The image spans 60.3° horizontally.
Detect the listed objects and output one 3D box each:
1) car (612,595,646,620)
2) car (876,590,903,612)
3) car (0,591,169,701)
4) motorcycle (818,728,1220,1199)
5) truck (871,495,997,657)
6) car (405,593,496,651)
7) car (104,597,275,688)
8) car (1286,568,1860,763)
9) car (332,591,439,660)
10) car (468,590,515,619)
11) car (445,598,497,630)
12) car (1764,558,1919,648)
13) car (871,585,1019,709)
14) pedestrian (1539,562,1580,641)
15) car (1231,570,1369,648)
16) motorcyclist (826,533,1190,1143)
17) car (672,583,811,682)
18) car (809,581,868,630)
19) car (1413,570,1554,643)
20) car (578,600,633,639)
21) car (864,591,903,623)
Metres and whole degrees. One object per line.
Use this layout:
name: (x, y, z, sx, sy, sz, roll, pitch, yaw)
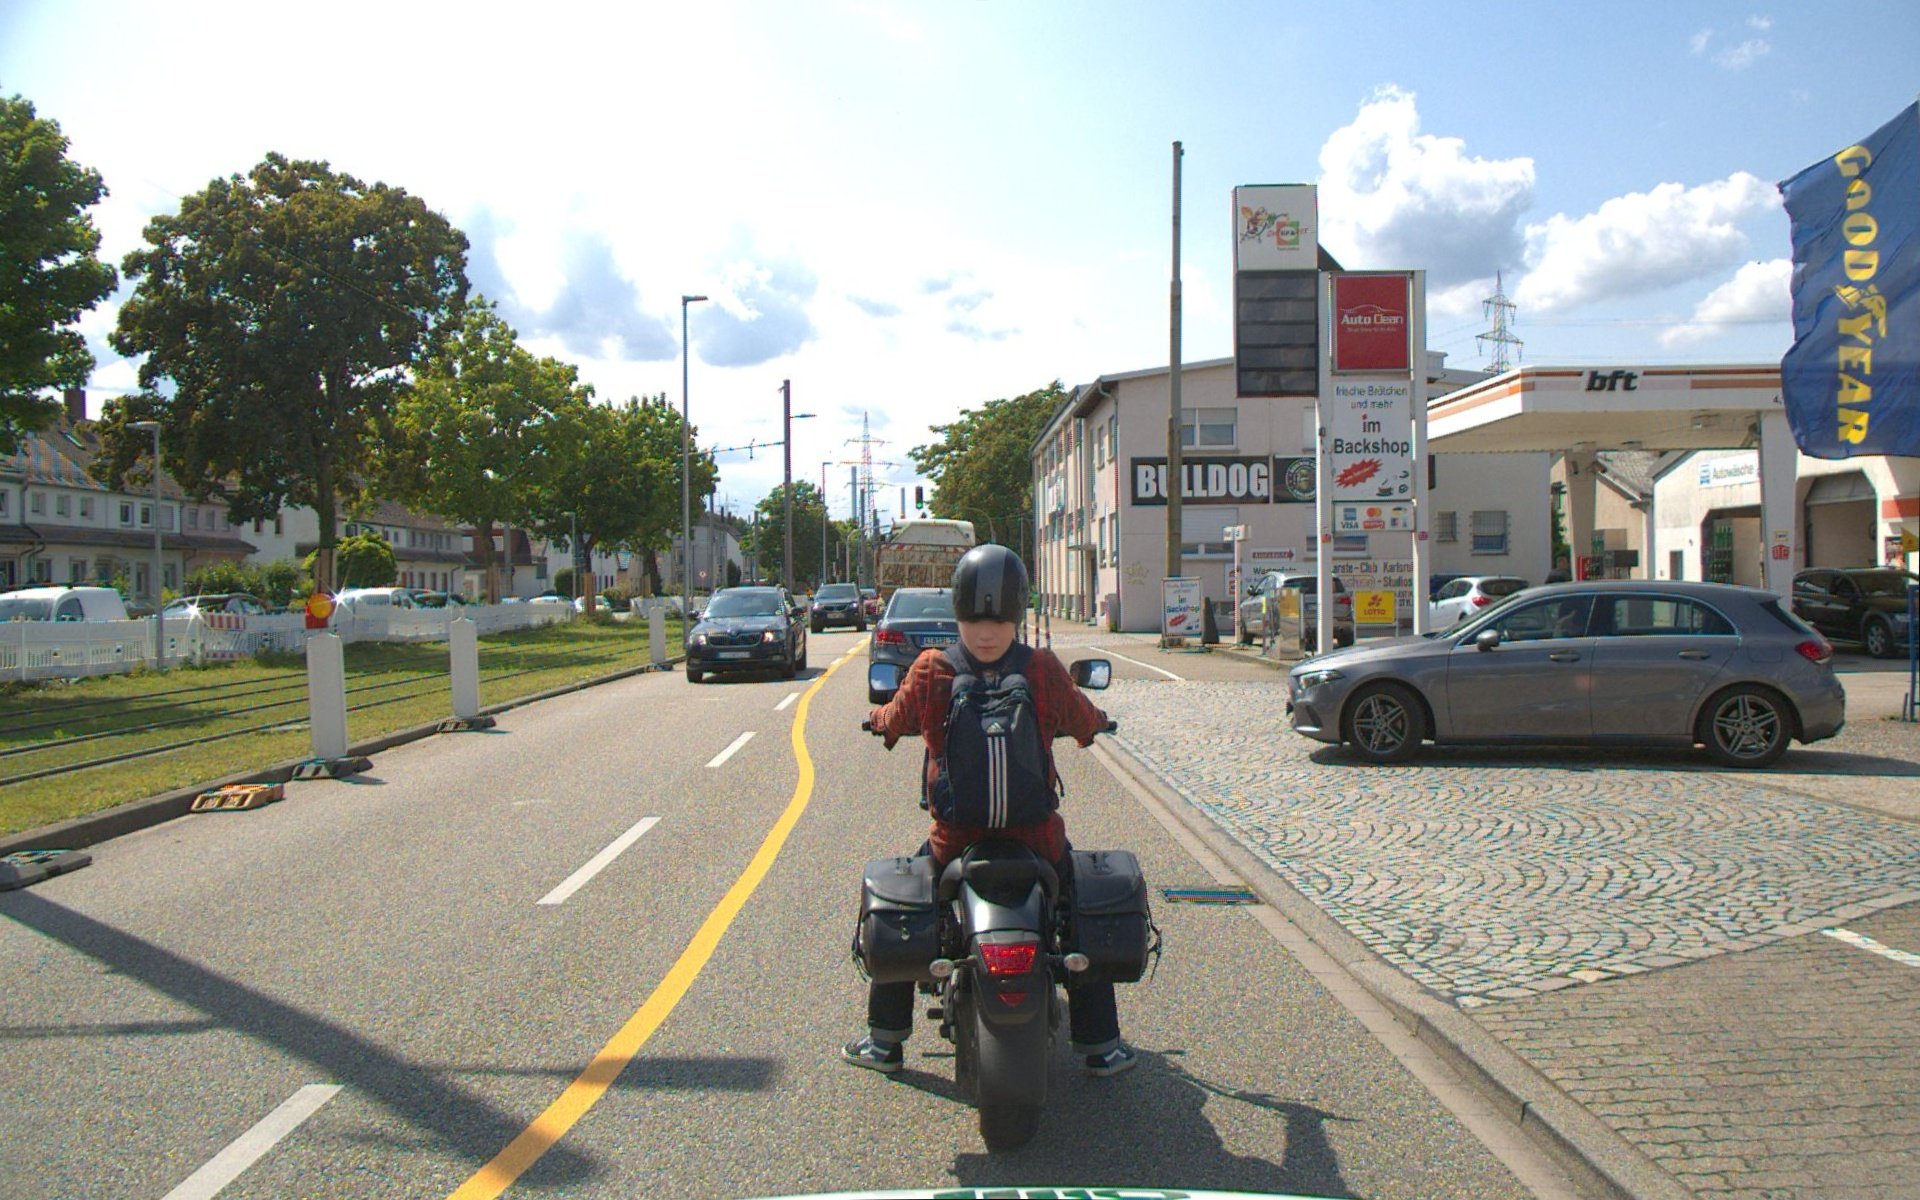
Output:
car: (-24.964, 0.543, 124.858, 1.740, 1.753, 4.127, -1, 0, -1)
car: (-5.013, 0.071, 117.847, 1.786, 1.478, 4.323, -2, 0, -1)
car: (-16.464, 0.778, 30.394, 1.740, 1.853, 4.363, -1, 0, -1)
motorcycle: (0.125, 0.991, 5.330, 0.959, 0.913, 2.653, -1, 0, -1)
truck: (-0.599, -0.538, 38.650, 2.585, 3.354, 8.055, -1, 0, -1)
car: (-16.970, 0.694, 55.267, 1.740, 1.837, 4.127, -1, 0, -1)
car: (-16.671, 0.861, 36.032, 1.740, 1.805, 4.227, -1, 0, -1)
car: (4.925, 0.506, 13.700, 4.183, 1.440, 1.675, -1, 0, 18)
car: (-16.969, 0.711, 49.032, 1.740, 1.900, 4.127, -1, 0, -1)
car: (-29.425, 0.269, 103.957, 1.740, 1.753, 4.127, -1, 0, -1)
car: (-28.298, 0.773, 95.840, 1.740, 1.753, 4.127, -1, 0, -1)
car: (16.615, 0.023, 30.301, 1.770, 1.529, 3.832, -1, 0, -3)
car: (-0.211, 0.561, 22.129, 1.786, 1.478, 3.999, 1, 0, -1)
pedestrian: (12.955, 0.028, 35.719, 0.696, 1.685, 0.546, -1, 0, 35)
car: (7.459, 0.173, 36.637, 1.636, 1.589, 4.236, -1, 0, -8)
motorcyclist: (0.124, 0.637, 5.024, 0.959, 1.630, 1.087, -1, 0, -1)
car: (-3.580, 0.488, 27.798, 1.786, 1.478, 4.323, -2, 0, -1)
car: (-4.313, 0.167, 59.142, 1.786, 1.630, 4.323, -2, 0, -1)
car: (11.723, 0.117, 37.272, 1.770, 1.529, 3.831, -1, 0, -3)
car: (-17.054, 0.905, 79.691, 1.740, 1.753, 4.127, -1, 0, -1)
car: (-3.851, 0.320, 83.411, 1.786, 1.478, 4.323, -2, 0, -1)
